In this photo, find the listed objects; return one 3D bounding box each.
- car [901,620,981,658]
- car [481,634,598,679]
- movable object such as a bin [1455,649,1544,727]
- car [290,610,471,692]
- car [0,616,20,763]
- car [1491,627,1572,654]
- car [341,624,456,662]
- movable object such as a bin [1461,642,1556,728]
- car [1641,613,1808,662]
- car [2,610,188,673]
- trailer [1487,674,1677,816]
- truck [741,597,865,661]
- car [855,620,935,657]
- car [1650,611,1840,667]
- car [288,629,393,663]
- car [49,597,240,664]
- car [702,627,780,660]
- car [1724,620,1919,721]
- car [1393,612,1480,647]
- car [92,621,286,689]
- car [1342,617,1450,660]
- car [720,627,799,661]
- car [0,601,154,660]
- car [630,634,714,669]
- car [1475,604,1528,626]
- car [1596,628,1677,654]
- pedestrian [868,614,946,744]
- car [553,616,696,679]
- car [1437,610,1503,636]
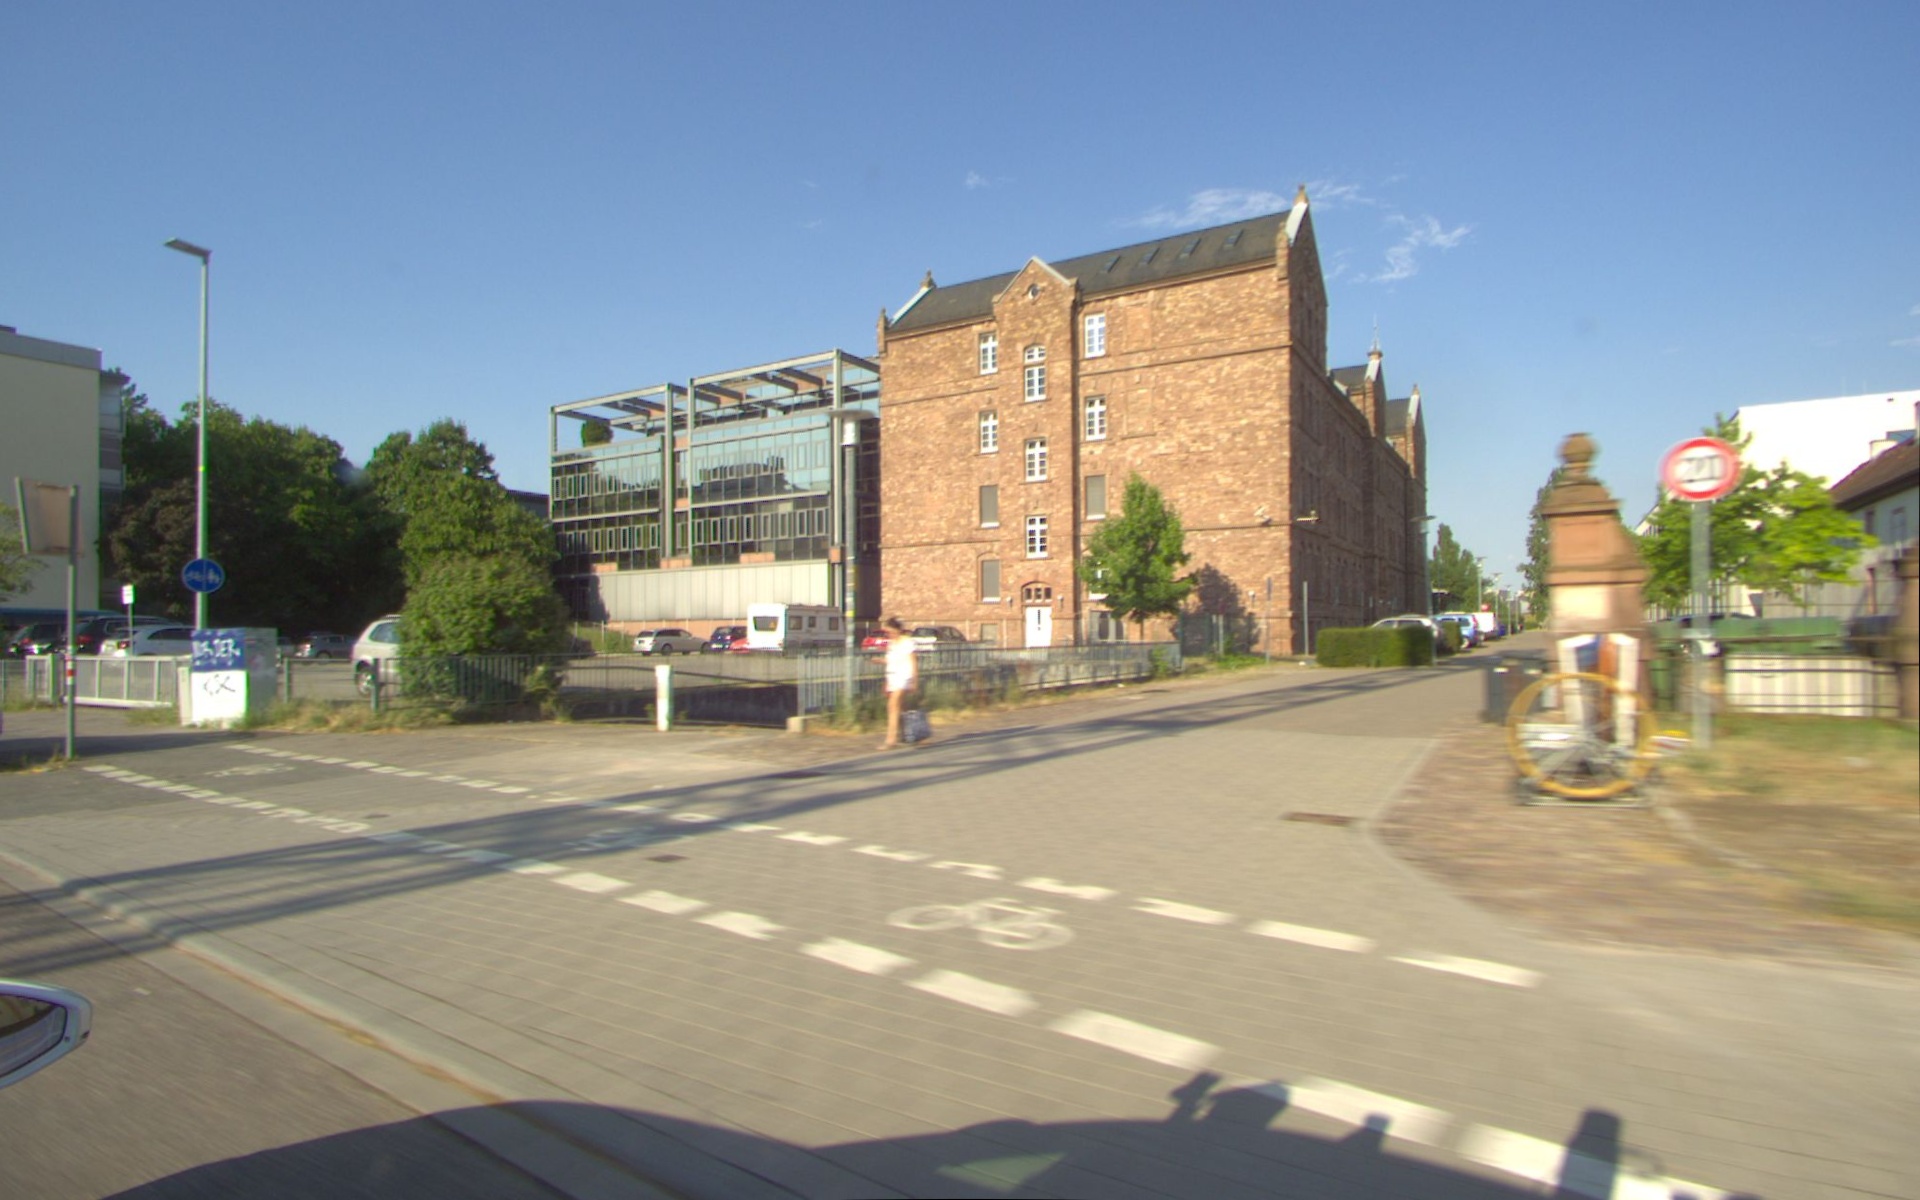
[{"bbox_3d":[-0.798,1.792,44.910,1.804,1.521,4.071,-3,-5,29],"label":"car"},{"bbox_3d":[-17.520,2.414,41.928,1.969,1.745,4.276,-2,-5,27],"label":"car"},{"bbox_3d":[7.942,1.289,14.738,0.928,1.104,0.980,-4,-5,41],"label":"movable object such as a bin"},{"bbox_3d":[-12.849,1.191,22.172,3.940,1.681,1.653,-3,-5,29],"label":"car"},{"bbox_3d":[-14.345,1.234,12.848,4.739,1.802,1.918,-3,0,29],"label":"car"},{"bbox_3d":[40.719,2.937,71.379,4.901,1.733,1.992,-3,-5,32],"label":"car"},{"bbox_3d":[-26.467,2.065,47.358,1.707,1.620,4.476,-3,-5,29],"label":"car"},{"bbox_3d":[7.436,1.148,13.571,0.928,1.104,0.980,-4,-5,41],"label":"movable object such as a bin"},{"bbox_3d":[29.585,1.518,38.997,4.901,1.733,1.992,-3,-5,32],"label":"car"},{"bbox_3d":[-27.200,1.379,31.634,1.970,1.815,3.988,-2,-5,28],"label":"car"},{"bbox_3d":[5.050,1.150,8.185,1.250,1.079,0.482,-3,-5,33],"label":"trailer"},{"bbox_3d":[-7.460,1.517,48.424,2.505,2.715,6.423,-2,-5,29],"label":"truck"},{"bbox_3d":[-2.961,1.826,46.248,1.804,1.521,4.071,-3,-5,29],"label":"car"},{"bbox_3d":[27.023,1.403,34.745,4.901,1.733,1.992,-3,-5,32],"label":"car"},{"bbox_3d":[-30.607,2.316,49.633,1.802,1.521,4.074,-2,-5,27],"label":"car"},{"bbox_3d":[-24.482,0.999,30.213,1.969,1.815,3.989,-2,-5,27],"label":"car"},{"bbox_3d":[-11.238,2.282,51.656,1.802,1.521,4.074,-2,-5,27],"label":"car"},{"bbox_3d":[14.430,1.088,15.420,3.940,1.470,1.791,-3,-5,29],"label":"car"},{"bbox_3d":[25.332,1.618,53.311,3.945,1.637,1.991,-3,-5,33],"label":"car"},{"bbox_3d":[-22.329,1.658,29.172,1.969,1.815,3.989,-2,-5,27],"label":"car"},{"bbox_3d":[18.444,1.656,42.387,3.945,1.637,1.991,-3,-5,33],"label":"car"},{"bbox_3d":[-9.968,2.224,50.068,1.802,1.521,4.074,-2,-5,27],"label":"car"},{"bbox_3d":[-30.663,1.123,34.508,1.969,1.815,3.989,-2,-5,27],"label":"car"},{"bbox_3d":[-15.334,2.794,53.544,1.969,1.745,4.276,-2,-5,27],"label":"car"},{"bbox_3d":[47.543,1.353,87.877,3.945,1.637,1.991,-3,-5,33],"label":"car"},{"bbox_3d":[51.424,3.152,76.260,4.901,1.733,1.992,-3,-5,32],"label":"car"},{"bbox_3d":[-0.689,1.030,13.038,0.777,1.630,0.714,-2,-4,25],"label":"pedestrian"},{"bbox_3d":[-10.358,1.553,31.202,1.969,1.815,3.989,-2,-5,27],"label":"car"},{"bbox_3d":[35.762,1.640,70.282,3.945,1.637,1.991,-3,-5,33],"label":"car"}]
